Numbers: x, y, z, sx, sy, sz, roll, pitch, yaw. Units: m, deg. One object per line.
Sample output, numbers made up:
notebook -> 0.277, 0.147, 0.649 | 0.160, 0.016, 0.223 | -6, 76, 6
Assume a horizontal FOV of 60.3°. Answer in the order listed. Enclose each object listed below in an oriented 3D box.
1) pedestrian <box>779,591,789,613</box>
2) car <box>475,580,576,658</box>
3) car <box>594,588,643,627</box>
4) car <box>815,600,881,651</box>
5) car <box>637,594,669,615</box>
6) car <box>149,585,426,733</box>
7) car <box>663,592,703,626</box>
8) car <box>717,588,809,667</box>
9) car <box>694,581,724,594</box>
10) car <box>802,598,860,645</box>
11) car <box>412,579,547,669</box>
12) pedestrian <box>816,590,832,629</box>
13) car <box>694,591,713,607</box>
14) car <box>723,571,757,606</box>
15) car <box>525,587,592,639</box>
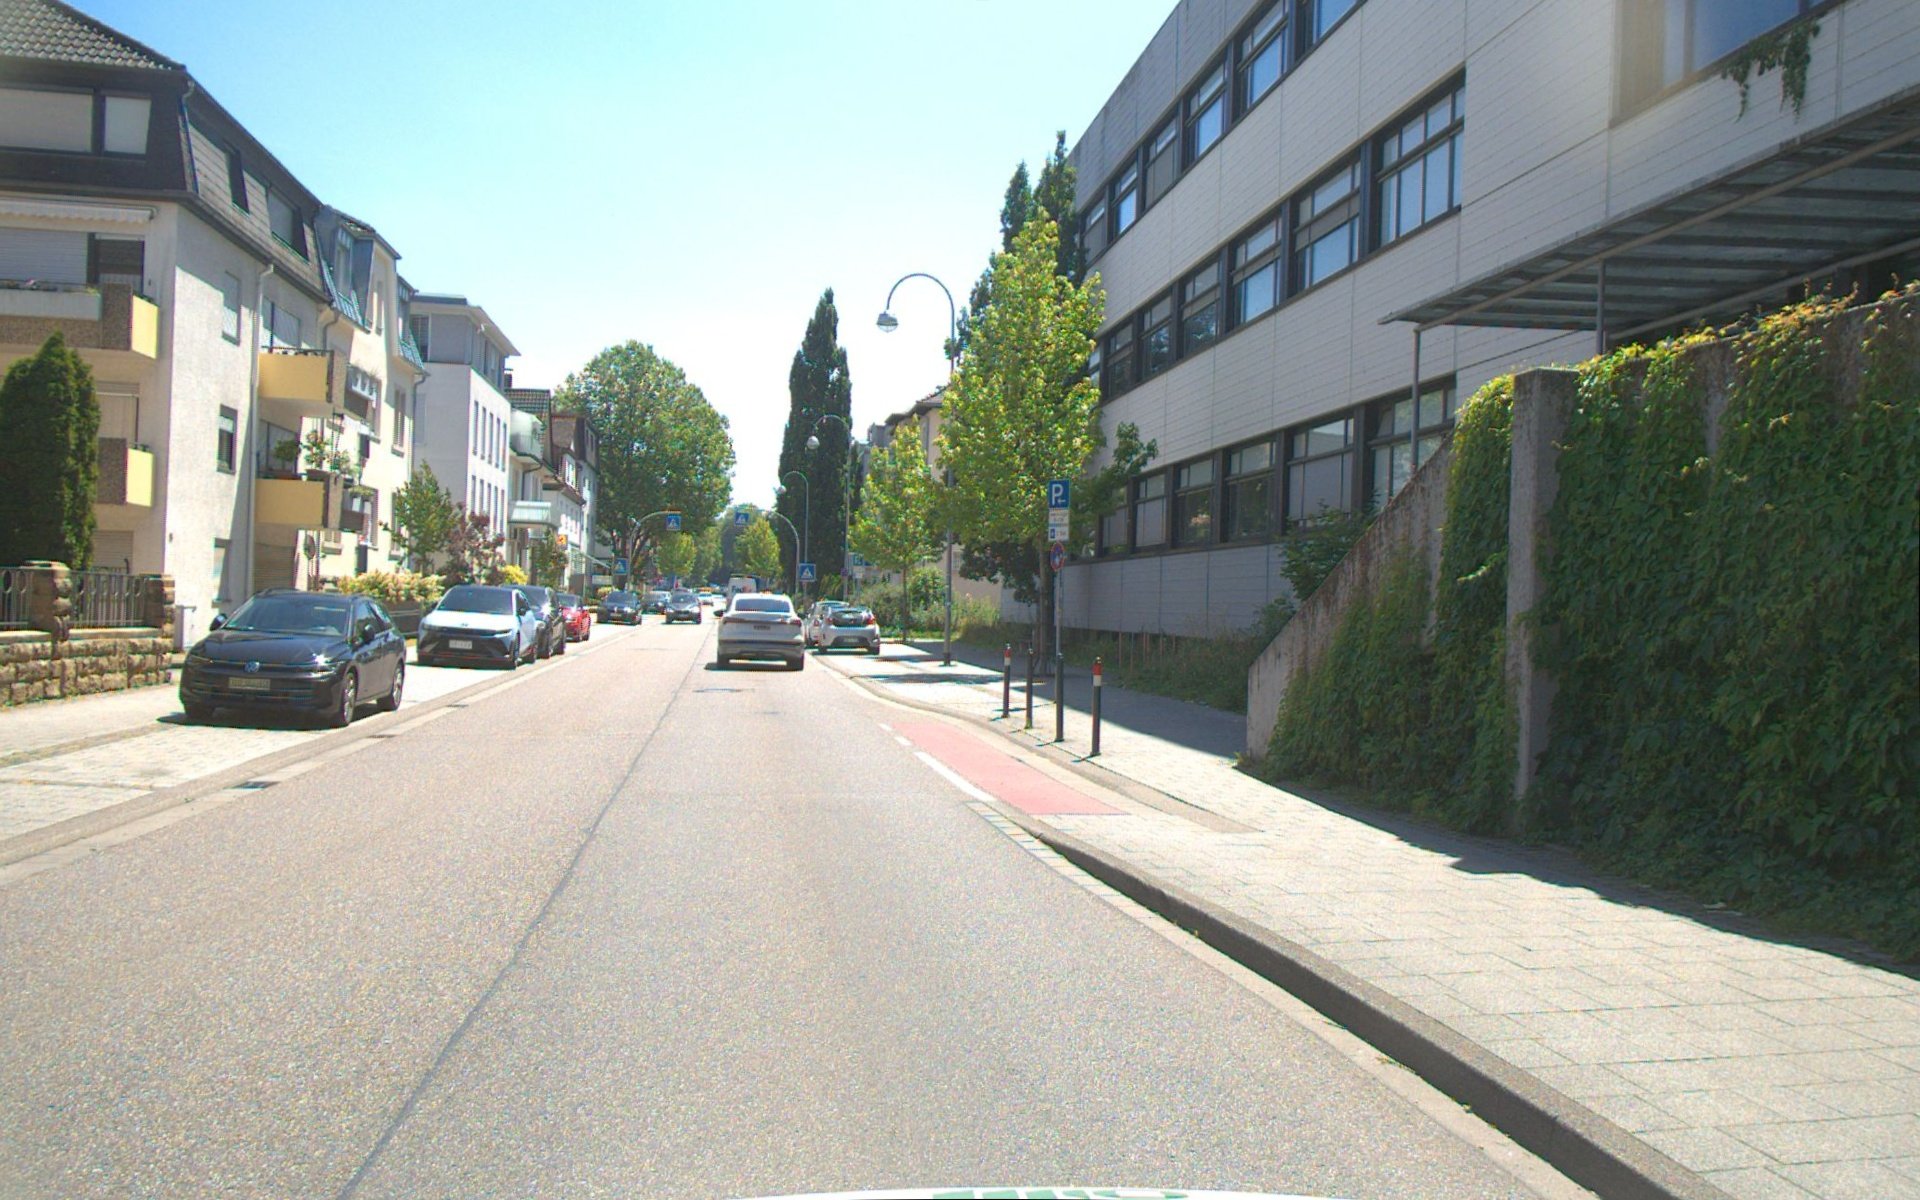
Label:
pedestrian -> -14.012, 0.172, 131.910 | 0.682, 1.767, 0.666 | 1, 0, -13
car -> -10.545, 0.430, 40.386 | 1.693, 1.647, 4.563 | 5, 0, -8
car -> -16.122, 0.343, 78.228 | 1.889, 1.750, 4.464 | 2, 0, -8
car -> -3.401, 0.740, 49.638 | 1.826, 1.397, 3.995 | 2, 0, -6
car -> -20.733, 0.297, 111.671 | 1.957, 1.373, 3.992 | 2, 0, -9
car -> -7.966, 0.627, 20.094 | 1.890, 1.461, 4.651 | 4, 0, -8
car -> -14.310, 0.450, 85.495 | 1.937, 1.700, 4.462 | 1, 0, -9
car -> -4.479, 0.572, 37.378 | 1.899, 1.642, 4.464 | 1, 0, -8
car -> -35.655, -1.754, 235.173 | 3.906, 1.680, 2.000 | 2, 0, -1
car -> -4.341, 0.686, 55.358 | 1.628, 1.514, 4.337 | 0, 0, -9
car -> -9.879, 0.463, 34.368 | 1.890, 1.600, 4.651 | 4, 0, -8
pedestrian -> -6.263, 0.446, 76.230 | 0.626, 1.789, 0.615 | 2, 0, -13
car -> -26.686, -0.122, 172.197 | 1.942, 1.546, 3.992 | 2, 0, -9
car -> -14.196, -0.734, 106.503 | 2.032, 2.235, 5.126 | 0, 0, -9
car -> -12.455, 0.386, 51.486 | 1.619, 1.443, 3.897 | 4, 0, -9
